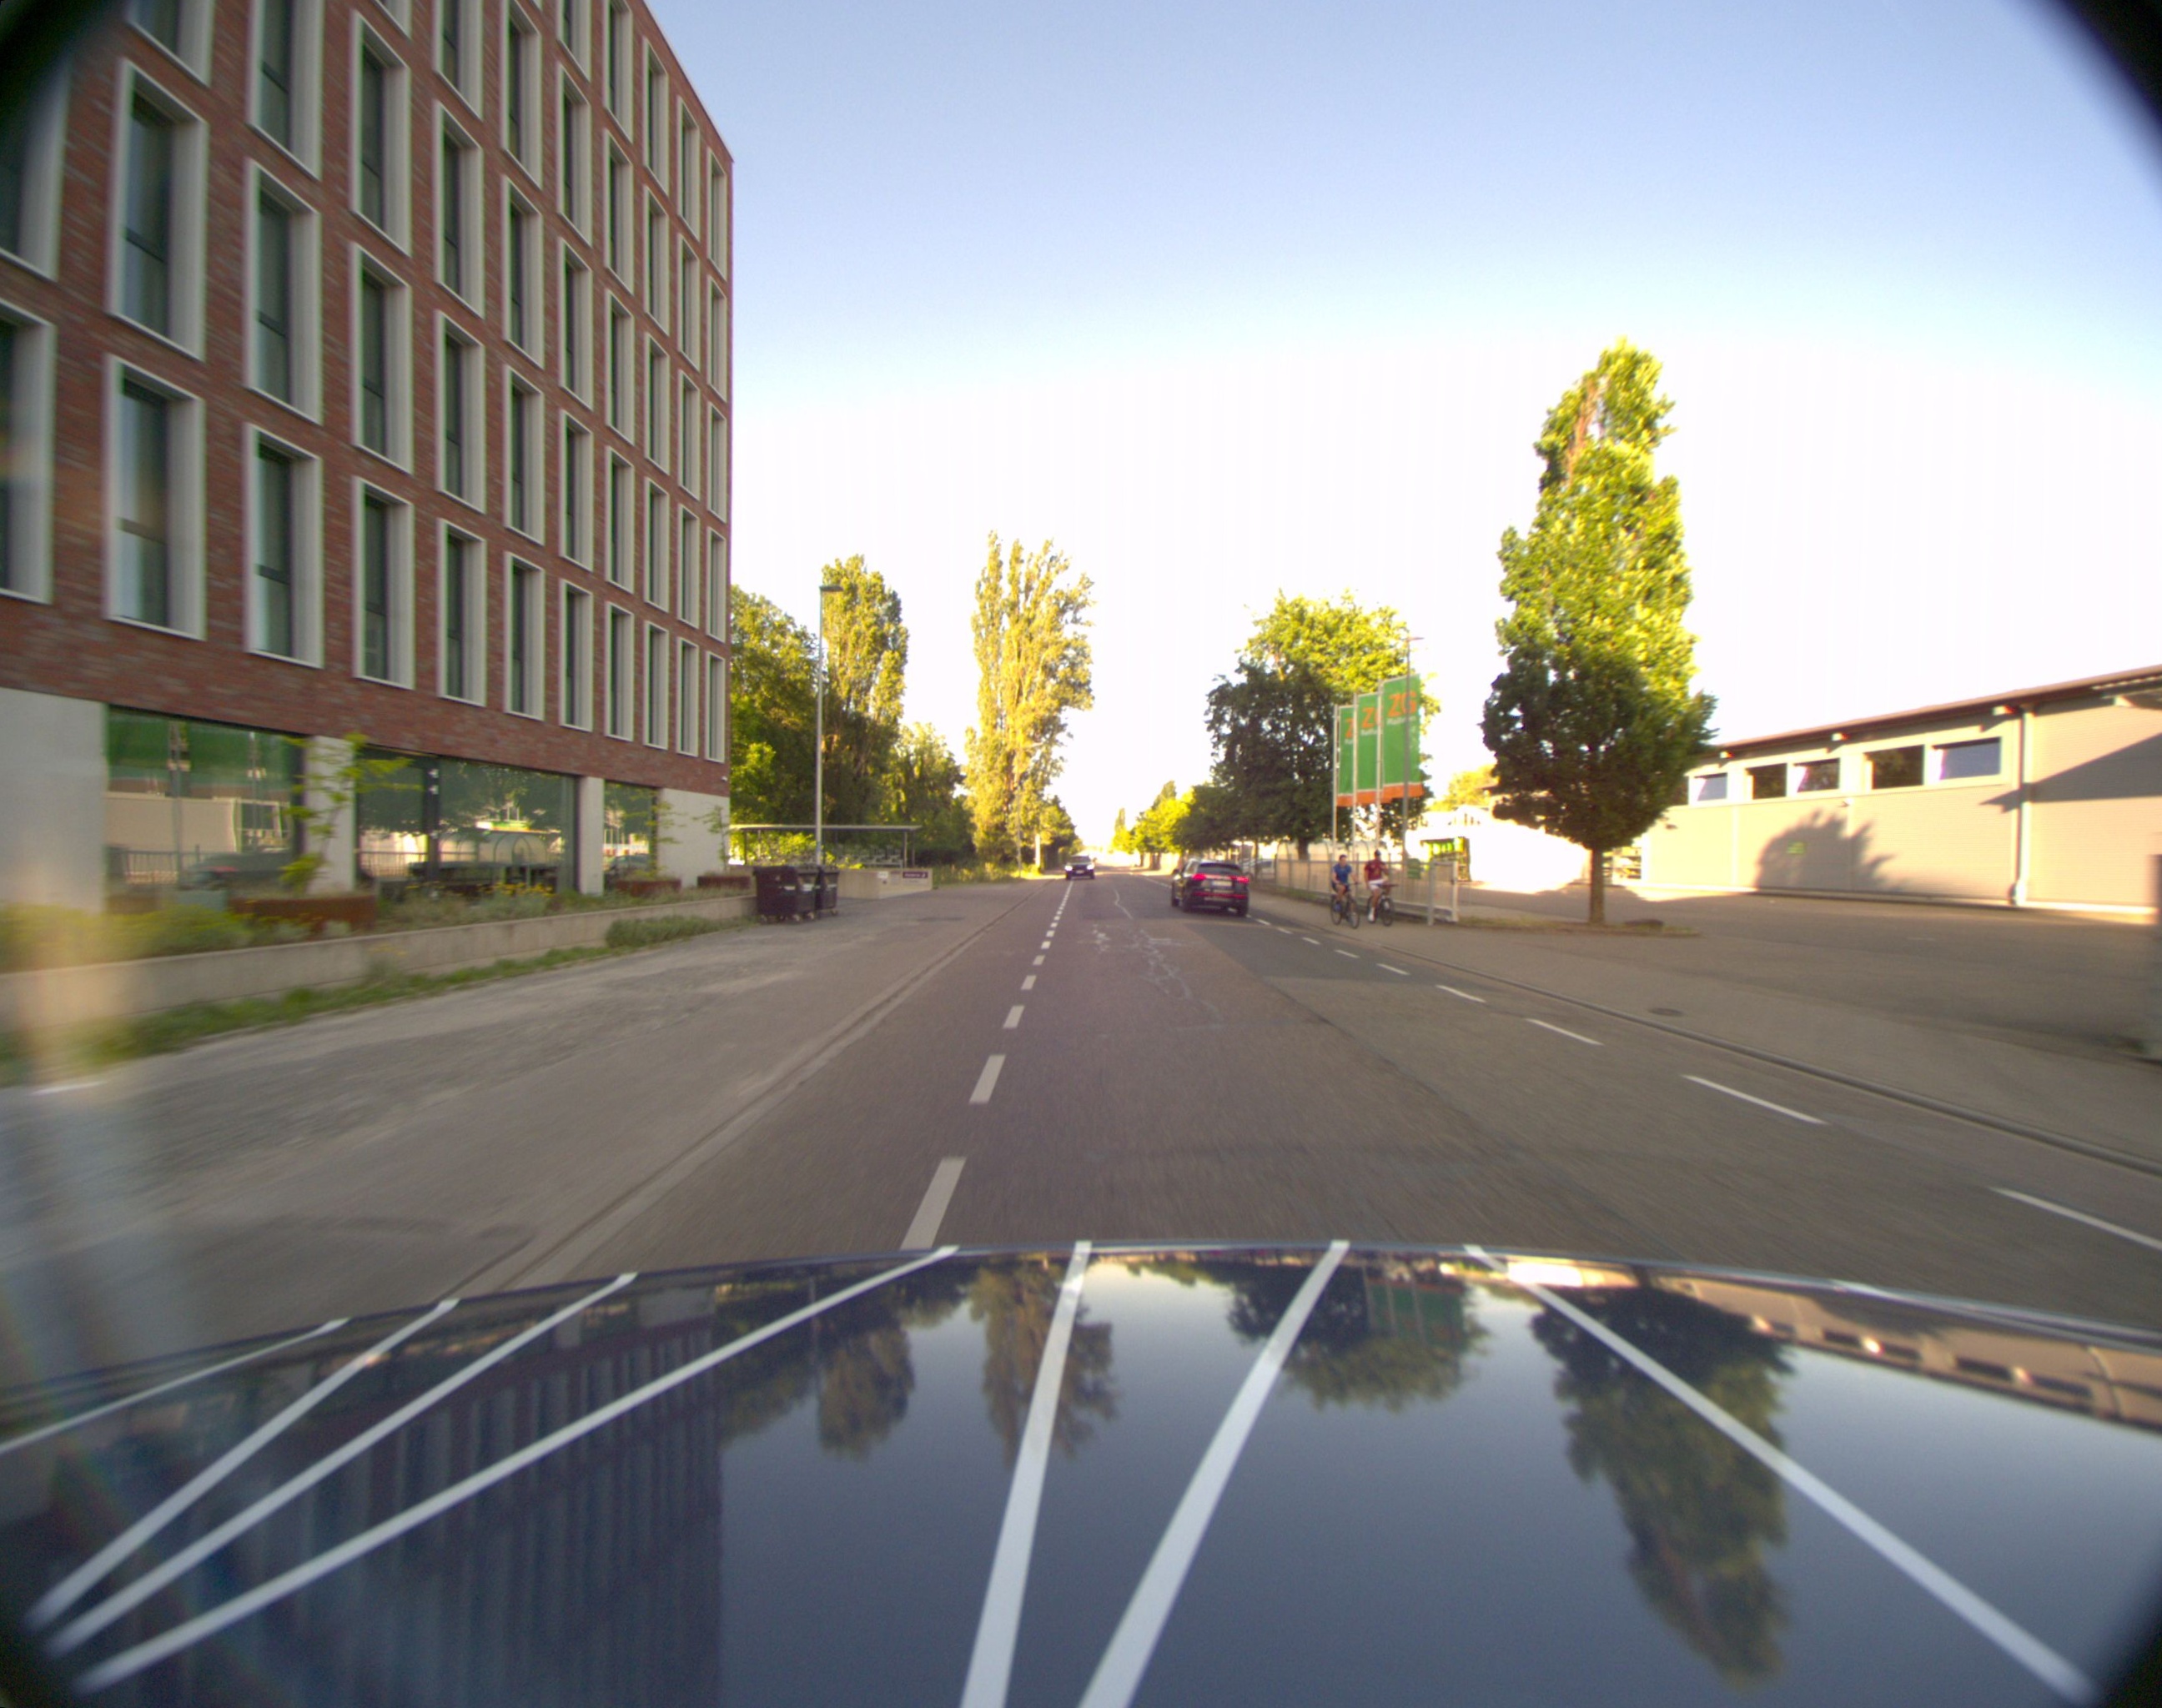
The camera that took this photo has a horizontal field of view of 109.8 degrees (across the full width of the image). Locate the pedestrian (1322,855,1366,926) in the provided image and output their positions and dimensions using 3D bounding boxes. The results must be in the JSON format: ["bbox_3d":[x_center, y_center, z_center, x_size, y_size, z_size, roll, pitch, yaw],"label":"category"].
[{"bbox_3d":[6.522,0.895,18.903,0.722,1.711,1.057,0,1,0],"label":"pedestrian"}]

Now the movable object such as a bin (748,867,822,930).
[{"bbox_3d":[-6.610,0.961,17.039,1.131,1.328,1.345,0,0,0],"label":"movable object such as a bin"}]

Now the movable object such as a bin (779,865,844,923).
[{"bbox_3d":[-6.603,0.963,18.704,1.131,1.364,1.345,0,0,0],"label":"movable object such as a bin"}]

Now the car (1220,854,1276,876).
[{"bbox_3d":[12.532,0.813,57.298,3.736,1.442,1.805,3,0,-1],"label":"car"}]

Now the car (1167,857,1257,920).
[{"bbox_3d":[3.595,0.892,21.593,1.745,1.517,4.111,4,0,0],"label":"car"}]

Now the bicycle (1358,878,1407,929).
[{"bbox_3d":[7.461,1.196,18.859,0.471,1.142,1.869,-1,0,0],"label":"bicycle"}]

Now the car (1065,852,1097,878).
[{"bbox_3d":[0.054,0.746,52.571,1.998,1.608,4.000,-3,0,2],"label":"car"}]

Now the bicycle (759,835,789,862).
[{"bbox_3d":[-15.524,-0.300,38.477,0.632,1.313,1.989,-1,1,1],"label":"bicycle"}]

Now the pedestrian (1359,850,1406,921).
[{"bbox_3d":[7.486,0.760,18.900,0.722,1.711,1.057,0,1,0],"label":"pedestrian"}]

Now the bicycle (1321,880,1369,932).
[{"bbox_3d":[6.584,1.259,19.058,0.447,1.142,2.201,-1,0,0],"label":"bicycle"}]

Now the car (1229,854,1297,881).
[{"bbox_3d":[11.707,0.850,48.951,3.899,1.502,1.786,3,0,0],"label":"car"}]
